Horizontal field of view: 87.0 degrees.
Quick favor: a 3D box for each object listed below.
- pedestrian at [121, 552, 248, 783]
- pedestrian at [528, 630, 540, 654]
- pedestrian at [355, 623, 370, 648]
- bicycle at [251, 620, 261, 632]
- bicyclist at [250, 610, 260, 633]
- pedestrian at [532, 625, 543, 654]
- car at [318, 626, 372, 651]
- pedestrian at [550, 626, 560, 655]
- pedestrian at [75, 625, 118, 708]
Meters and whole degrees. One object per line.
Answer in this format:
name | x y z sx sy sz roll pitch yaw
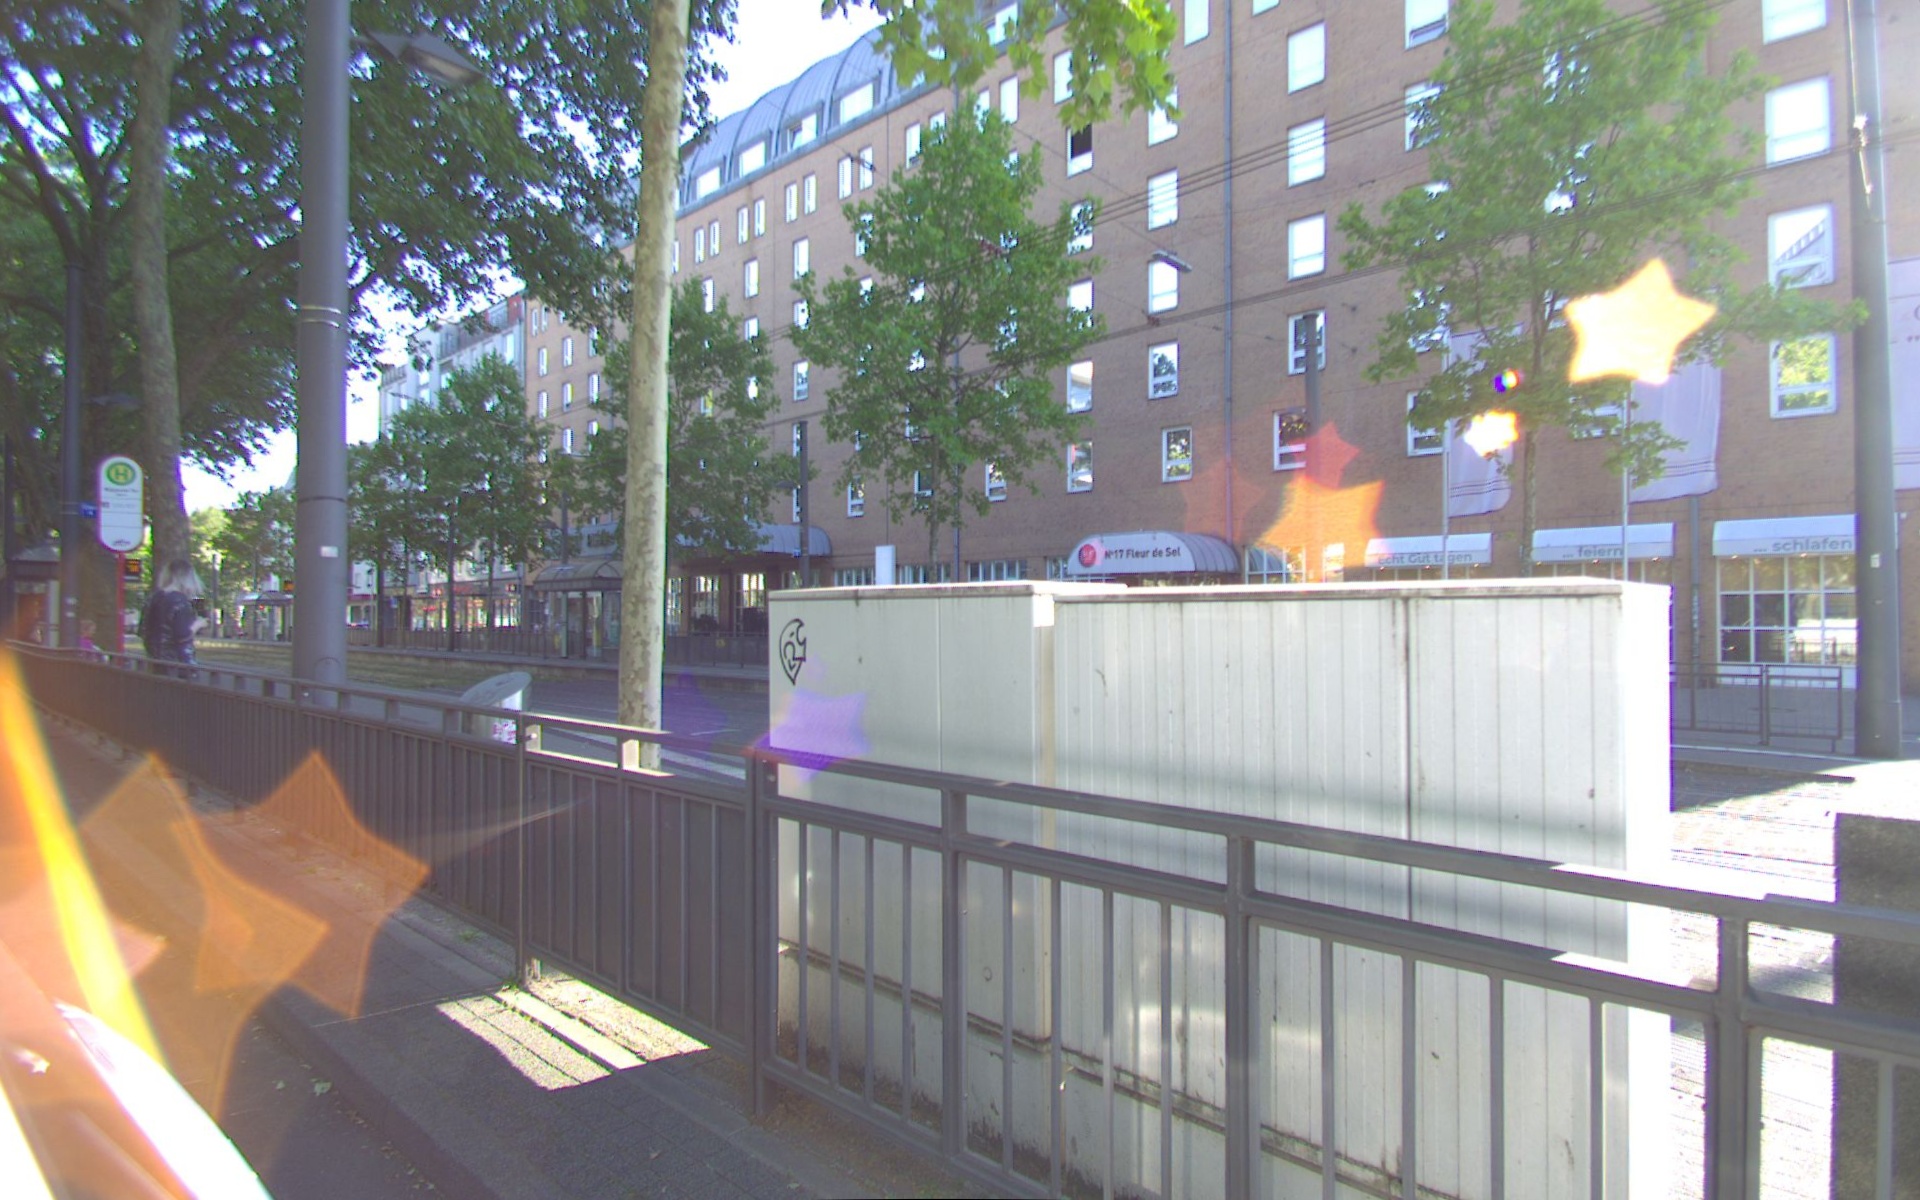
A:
pedestrian | -6.652 0.552 8.701 0.601 1.897 0.619 1 0 17
pedestrian | -25.820 2.519 61.352 0.516 1.447 0.512 -2 -2 44
pedestrian | -47.913 2.830 81.132 0.763 2.029 0.796 -2 -2 41
bicycle | -59.989 2.255 86.242 0.444 1.012 1.754 2 -2 -44
bicyclist | -60.004 1.839 86.152 0.564 1.918 0.814 2 -2 -43
pedestrian | -22.247 2.081 53.301 0.431 1.518 0.660 1 -2 -27
car | -38.743 2.416 63.714 4.308 1.500 1.737 -1 -2 42
pedestrian | -21.495 2.154 53.727 0.431 1.532 0.660 1 -2 -27
pedestrian | -13.957 1.063 16.356 0.493 1.325 0.419 1 -2 -41
